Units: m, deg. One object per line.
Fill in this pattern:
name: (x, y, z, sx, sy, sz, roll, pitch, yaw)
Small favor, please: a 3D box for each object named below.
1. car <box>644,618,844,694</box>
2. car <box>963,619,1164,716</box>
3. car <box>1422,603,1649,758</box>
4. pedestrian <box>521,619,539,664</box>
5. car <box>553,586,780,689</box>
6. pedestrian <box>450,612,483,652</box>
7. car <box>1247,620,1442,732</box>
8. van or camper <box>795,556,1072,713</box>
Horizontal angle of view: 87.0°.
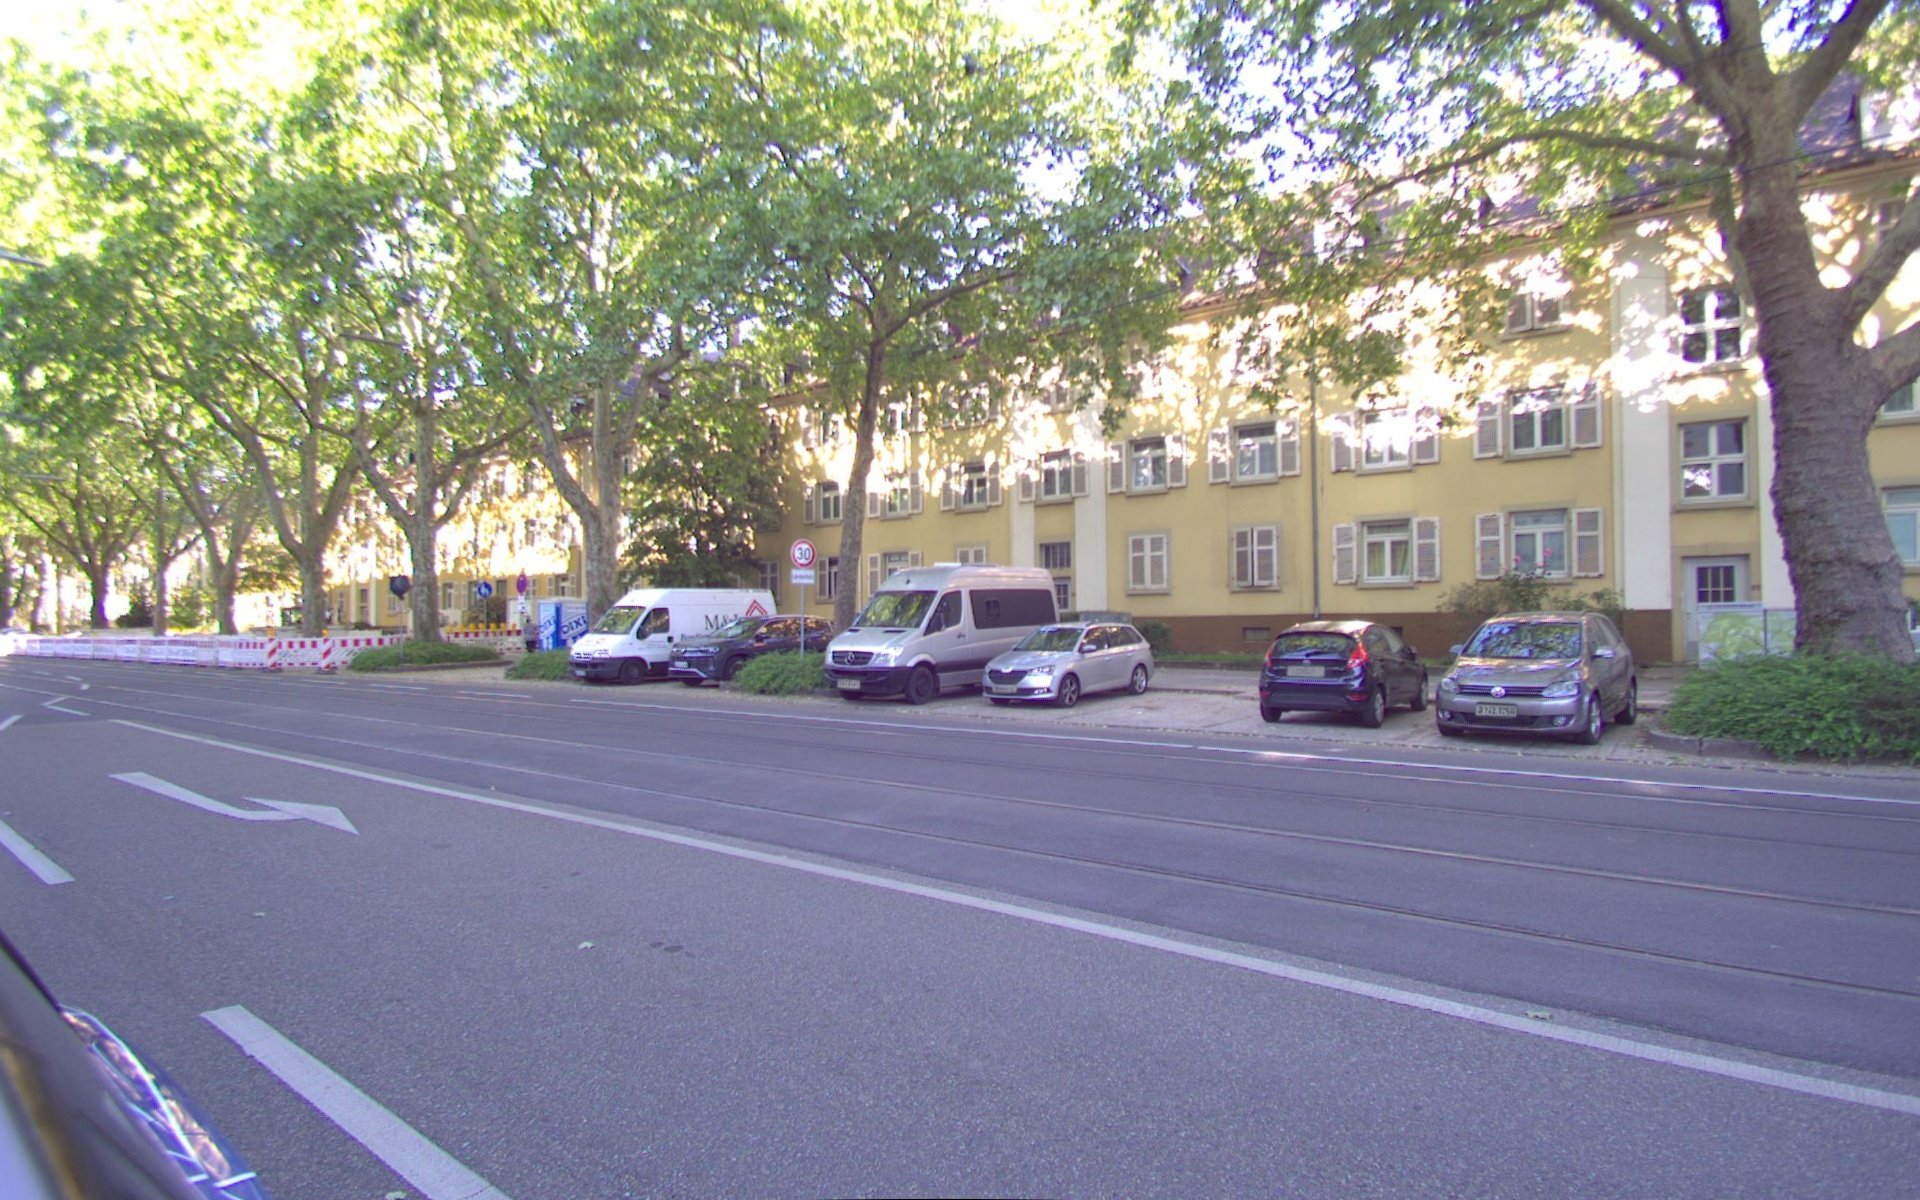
car: (-5.093, 1.271, 24.367, 1.967, 1.643, 4.520, -2, -2, 38)
car: (2.034, 1.155, 18.906, 1.729, 1.481, 4.102, 0, 1, 40)
car: (7.735, 0.924, 13.415, 1.814, 1.617, 4.145, -2, 0, 41)
pedestrian: (-15.306, 1.486, 36.043, 0.586, 1.585, 0.720, 0, -2, -24)
car: (-7.447, 0.944, 26.286, 2.023, 2.394, 5.543, -2, -2, 38)
pedestrian: (-25.611, 1.664, 52.504, 1.233, 2.029, 1.085, -2, -2, 36)
car: (5.904, 1.046, 15.329, 1.740, 1.440, 3.528, -2, -1, 39)
van or camper: (-0.318, 0.609, 20.490, 2.227, 2.697, 6.052, -2, -1, 38)
